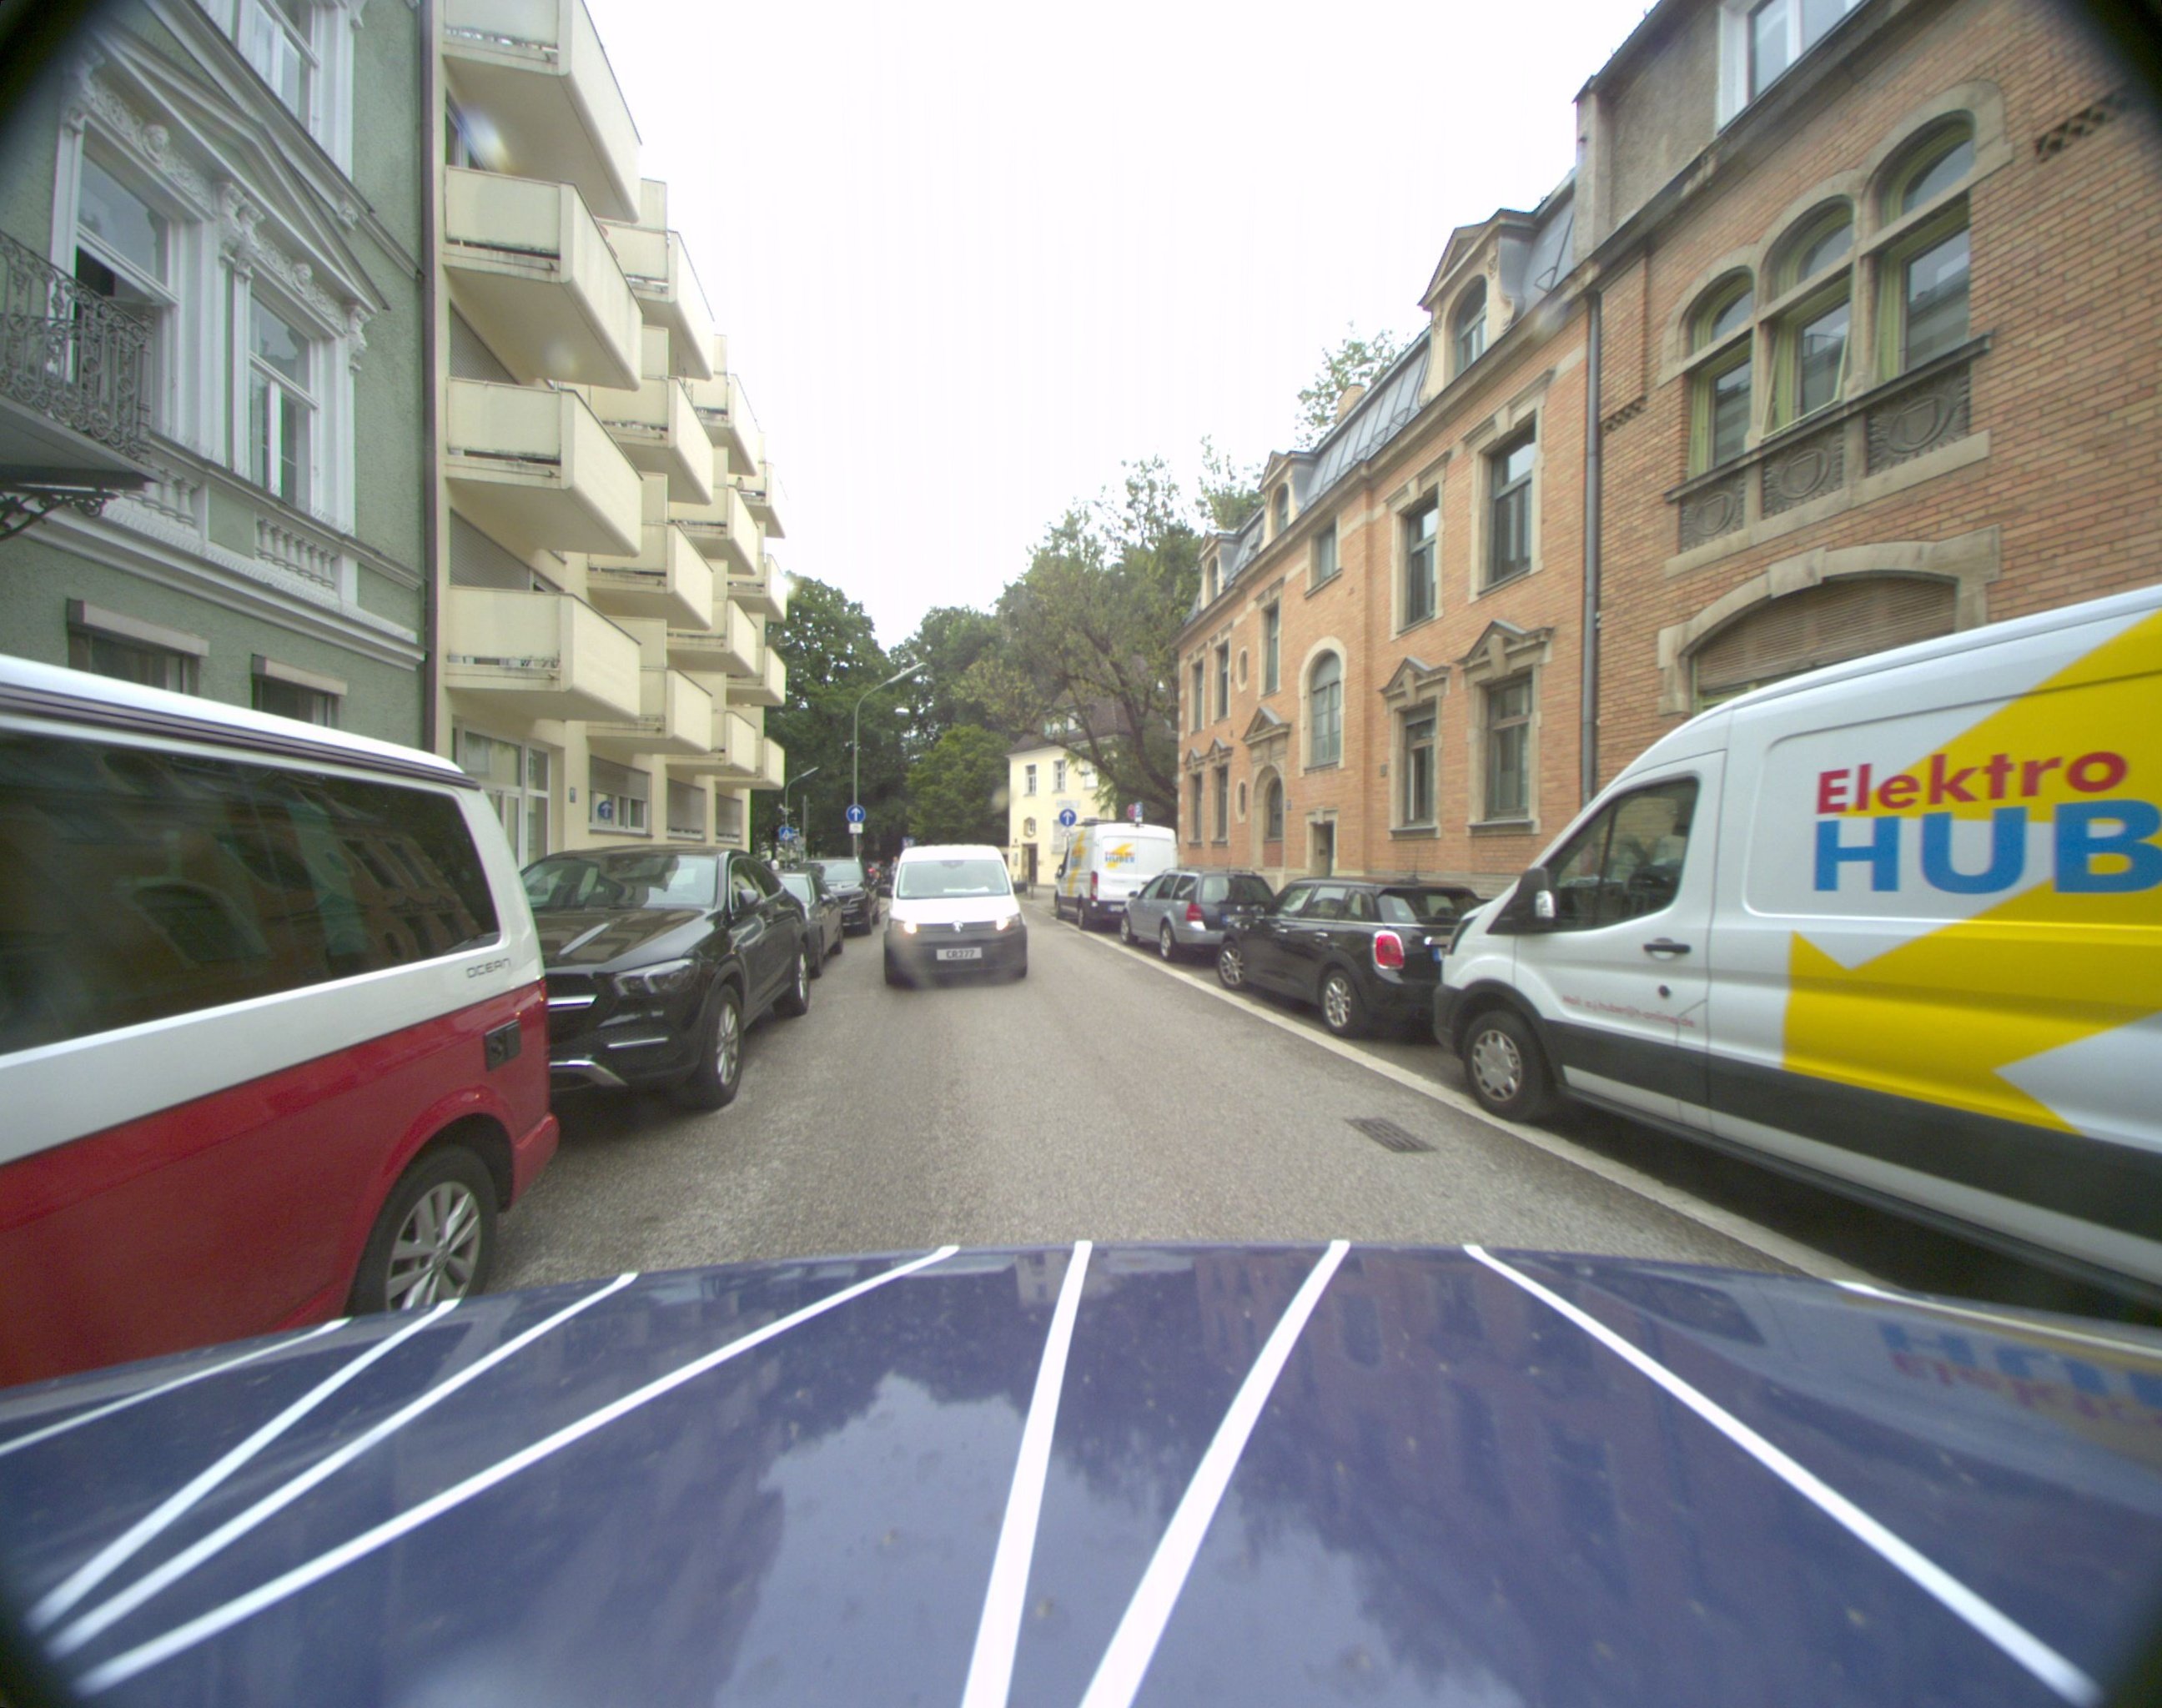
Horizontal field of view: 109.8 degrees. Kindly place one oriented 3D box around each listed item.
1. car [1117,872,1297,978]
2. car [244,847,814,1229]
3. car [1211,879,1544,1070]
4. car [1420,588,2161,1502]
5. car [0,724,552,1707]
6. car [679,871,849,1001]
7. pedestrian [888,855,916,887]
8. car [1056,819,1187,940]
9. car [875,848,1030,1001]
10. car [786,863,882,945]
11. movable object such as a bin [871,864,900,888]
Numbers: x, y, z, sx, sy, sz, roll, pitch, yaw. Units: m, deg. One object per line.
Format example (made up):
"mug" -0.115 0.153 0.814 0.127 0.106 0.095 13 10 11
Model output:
"car" 1.944 1.088 12.983 1.696 1.434 3.980 2 -1 -11
"car" -3.435 0.889 5.978 1.833 1.747 4.549 -2 0 -11
"car" 2.751 1.042 7.929 1.528 1.434 3.537 2 -1 -11
"car" 3.799 0.534 2.817 1.988 2.463 5.218 2 0 -10
"car" -2.622 0.750 0.540 1.860 1.885 4.587 -2 0 -10
"car" -4.543 1.053 11.444 1.552 1.488 3.974 -2 0 -11
"pedestrian" -10.343 0.969 43.800 1.090 1.789 1.079 -1 2 41
"car" 0.834 0.589 18.636 2.121 2.525 4.417 3 -1 -10
"car" -1.830 0.818 10.834 1.778 1.761 3.996 0 0 -10
"car" -5.478 1.027 17.275 1.552 1.562 3.974 -2 0 -11
"movable object such as a bin" -11.057 1.233 43.007 1.093 1.255 1.079 -1 2 42
